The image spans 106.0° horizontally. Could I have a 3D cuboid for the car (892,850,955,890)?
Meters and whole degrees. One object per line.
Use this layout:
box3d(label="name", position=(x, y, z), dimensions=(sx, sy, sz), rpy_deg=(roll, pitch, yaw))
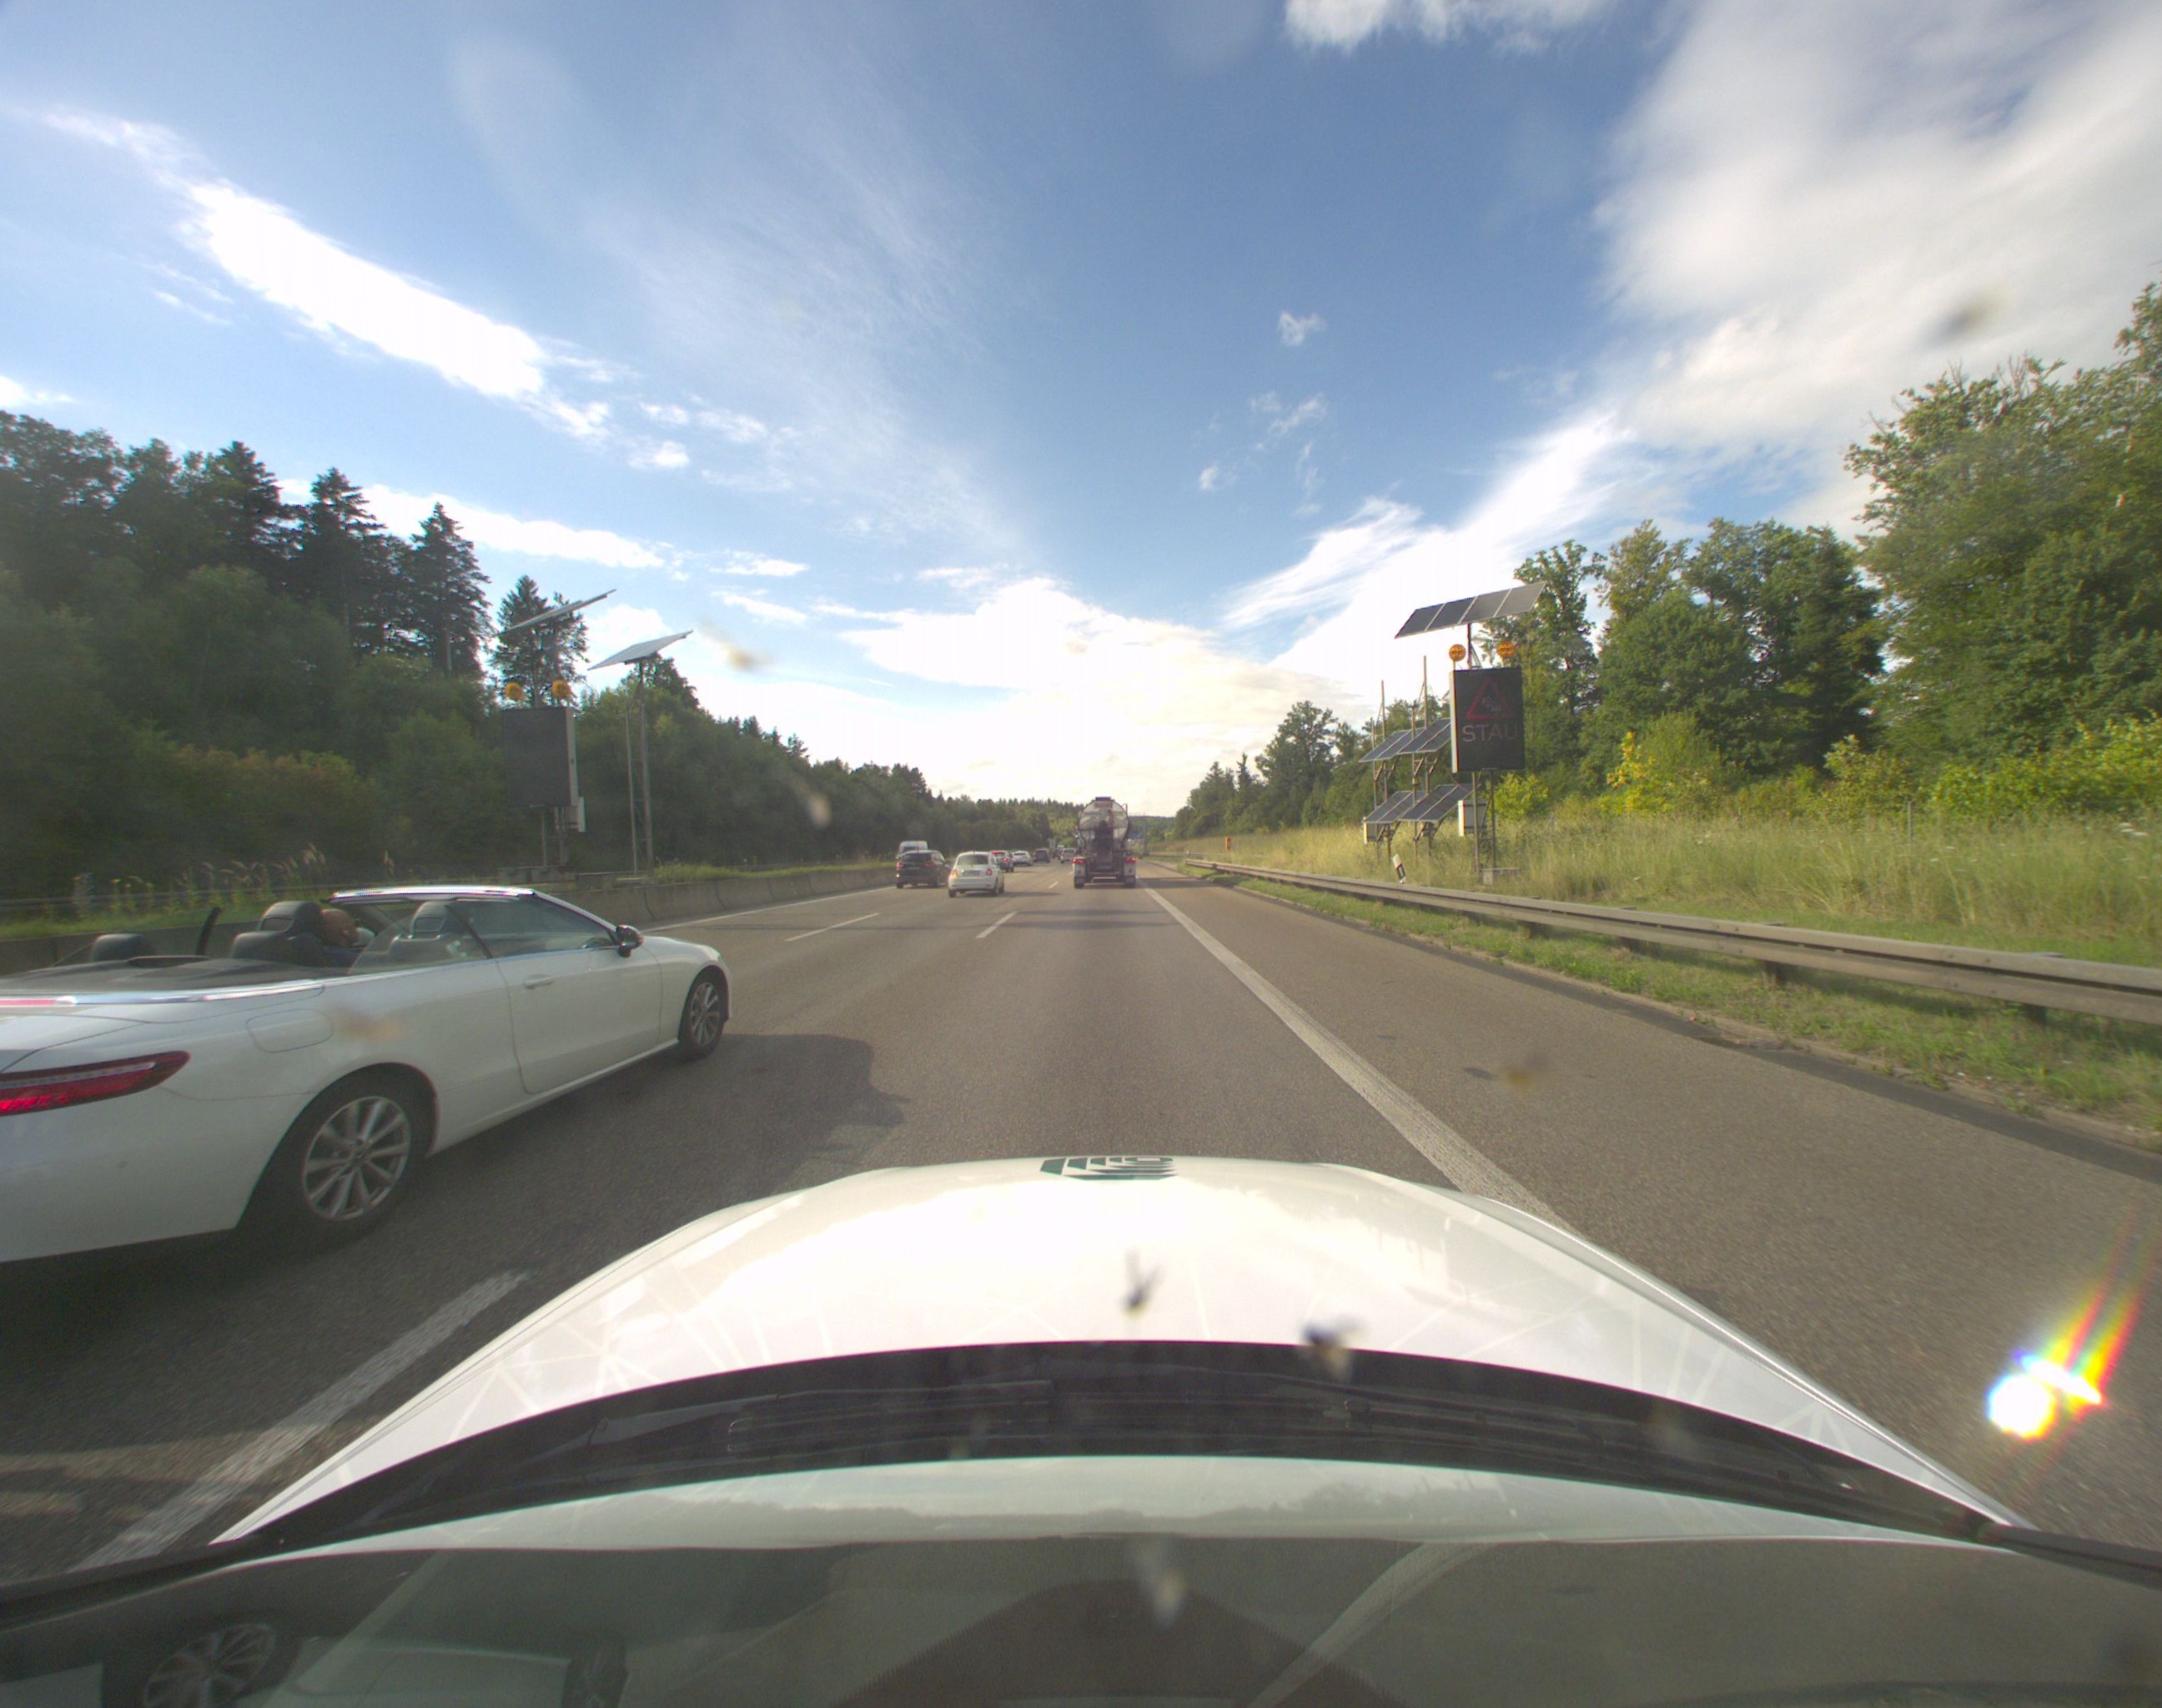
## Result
box3d(label="car", position=(-6.785, 0.633, 35.549), dimensions=(1.800, 1.585, 4.208), rpy_deg=(0, 1, 1))

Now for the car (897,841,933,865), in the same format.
box3d(label="car", position=(-16.831, -0.140, 83.064), dimensions=(2.101, 2.312, 6.727), rpy_deg=(-1, 0, 2))

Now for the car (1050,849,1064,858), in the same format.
box3d(label="car", position=(-3.981, -0.089, 135.776), dimensions=(1.935, 1.456, 4.208), rpy_deg=(0, 1, 1))

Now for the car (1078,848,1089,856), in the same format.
box3d(label="car", position=(0.529, -0.347, 148.982), dimensions=(1.935, 1.456, 4.208), rpy_deg=(0, 1, 1))

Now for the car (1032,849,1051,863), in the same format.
box3d(label="car", position=(-4.665, 0.180, 96.609), dimensions=(1.935, 1.585, 4.208), rpy_deg=(0, 1, 1))

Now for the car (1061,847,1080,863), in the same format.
box3d(label="car", position=(-1.149, 0.117, 89.969), dimensions=(1.935, 1.654, 4.208), rpy_deg=(0, 1, 1))

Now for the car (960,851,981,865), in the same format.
box3d(label="car", position=(-18.697, 0.670, 138.192), dimensions=(2.569, 2.138, 5.969), rpy_deg=(-1, 0, 2))

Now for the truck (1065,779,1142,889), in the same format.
box3d(label="truck", position=(1.069, -0.800, 36.811), dimensions=(2.901, 4.157, 11.275), rpy_deg=(-1, 0, 2))

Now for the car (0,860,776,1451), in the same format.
box3d(label="car", position=(-3.818, 0.835, 4.299), dimensions=(2.052, 1.499, 5.739), rpy_deg=(-1, 0, 2))

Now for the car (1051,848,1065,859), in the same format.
box3d(label="car", position=(-3.414, -0.077, 121.816), dimensions=(1.935, 1.456, 4.208), rpy_deg=(0, 1, 1))

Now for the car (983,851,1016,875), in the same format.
box3d(label="car", position=(-5.781, 0.593, 57.942), dimensions=(1.800, 1.585, 4.208), rpy_deg=(0, 1, 1))

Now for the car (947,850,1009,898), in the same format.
box3d(label="car", position=(-3.546, 0.661, 28.461), dimensions=(1.612, 1.544, 3.521), rpy_deg=(0, 0, 1))

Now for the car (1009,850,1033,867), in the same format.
box3d(label="car", position=(-5.679, 0.411, 77.442), dimensions=(1.800, 1.585, 4.208), rpy_deg=(0, 1, 1))
